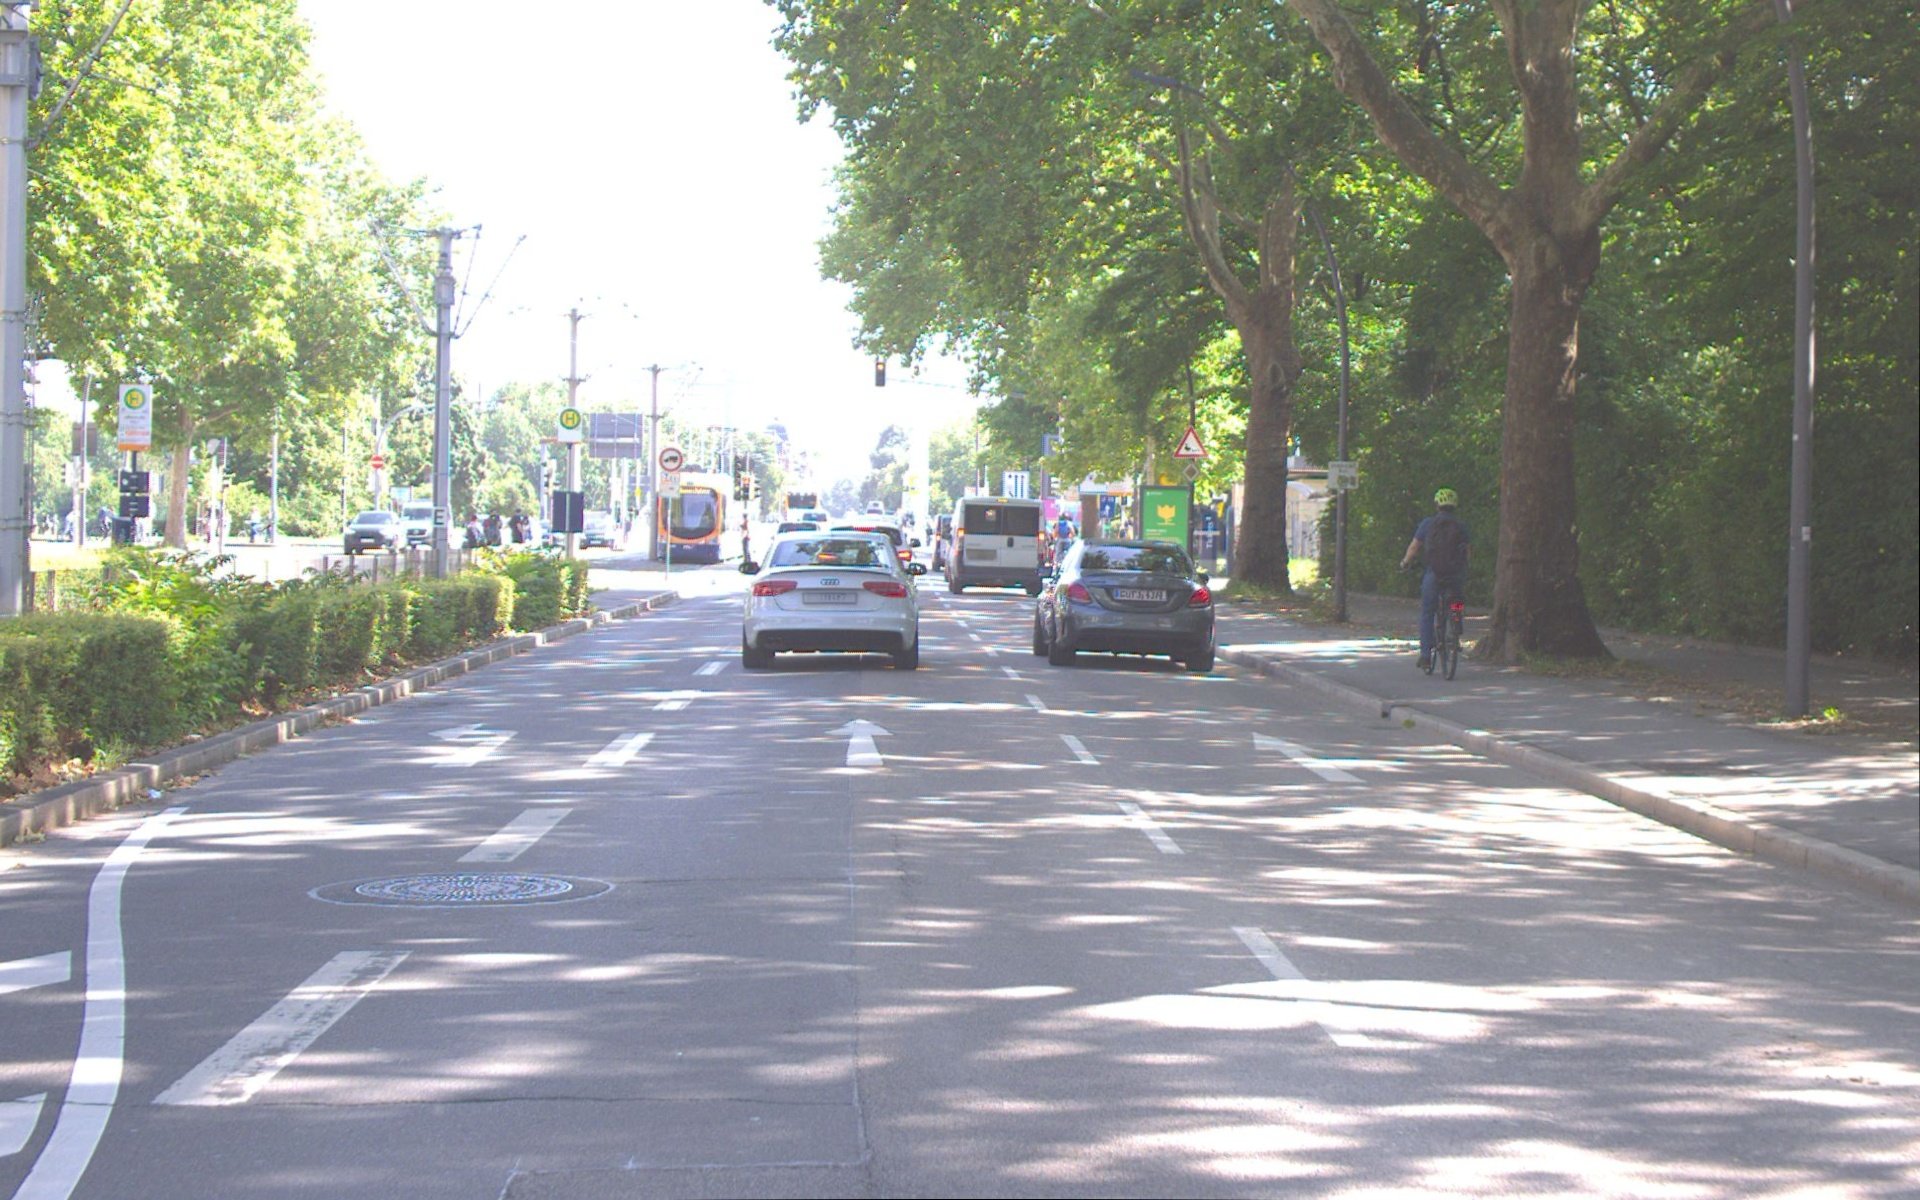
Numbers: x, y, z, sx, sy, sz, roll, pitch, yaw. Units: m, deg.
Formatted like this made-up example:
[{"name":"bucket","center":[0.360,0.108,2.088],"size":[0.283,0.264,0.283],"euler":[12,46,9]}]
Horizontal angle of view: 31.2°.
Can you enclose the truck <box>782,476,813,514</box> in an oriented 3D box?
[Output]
[{"name":"truck","center":[-12.348,-7.957,261.575],"size":[1.993,2.780,8.519],"euler":[2,1,-1]}]

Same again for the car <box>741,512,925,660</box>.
[{"name":"car","center":[-1.289,-0.185,36.034],"size":[1.784,1.416,3.885],"euler":[2,1,-1]}]

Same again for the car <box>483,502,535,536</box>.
[{"name":"car","center":[-20.498,-3.672,156.473],"size":[1.796,1.483,4.385],"euler":[2,1,-1]}]

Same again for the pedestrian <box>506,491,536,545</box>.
[{"name":"pedestrian","center":[-14.444,-2.703,113.225],"size":[0.775,1.728,0.754],"euler":[2,1,8]}]

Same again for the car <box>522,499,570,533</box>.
[{"name":"car","center":[-20.434,-4.135,169.816],"size":[1.871,1.603,4.000],"euler":[2,1,-1]}]

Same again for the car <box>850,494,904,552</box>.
[{"name":"car","center":[-2.797,-2.614,116.454],"size":[1.729,1.895,4.000],"euler":[2,1,-1]}]

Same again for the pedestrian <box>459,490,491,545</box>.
[{"name":"pedestrian","center":[-14.554,-2.480,103.137],"size":[0.757,1.617,0.595],"euler":[1,1,-26]}]

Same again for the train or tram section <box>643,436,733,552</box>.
[{"name":"train or tram section","center":[-9.810,-3.817,124.532],"size":[2.616,4.001,7.749],"euler":[2,1,-1]}]

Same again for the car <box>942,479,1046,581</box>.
[{"name":"car","center":[0.751,-1.618,78.885],"size":[2.230,2.204,4.162],"euler":[2,1,-1]}]

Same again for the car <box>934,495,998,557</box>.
[{"name":"car","center":[0.189,-2.529,117.148],"size":[2.072,1.992,4.058],"euler":[2,1,-1]}]

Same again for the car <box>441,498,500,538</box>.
[{"name":"car","center":[-19.692,-3.299,138.335],"size":[1.810,1.557,4.305],"euler":[1,1,-1]}]

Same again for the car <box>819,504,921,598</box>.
[{"name":"car","center":[-1.601,-0.902,61.940],"size":[1.729,1.599,3.885],"euler":[2,1,-1]}]

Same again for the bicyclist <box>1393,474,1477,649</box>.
[{"name":"bicyclist","center":[4.604,-0.382,33.350],"size":[0.634,1.642,0.979],"euler":[-1,3,-2]}]

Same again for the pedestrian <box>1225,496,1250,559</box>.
[{"name":"pedestrian","center":[8.312,-2.170,103.067],"size":[0.613,1.889,0.694],"euler":[1,1,-4]}]

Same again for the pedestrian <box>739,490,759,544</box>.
[{"name":"pedestrian","center":[-7.577,-2.992,123.408],"size":[0.624,1.911,0.690],"euler":[2,1,-1]}]

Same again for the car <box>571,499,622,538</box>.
[{"name":"car","center":[-17.194,-3.865,162.916],"size":[1.993,1.728,4.000],"euler":[2,1,-1]}]

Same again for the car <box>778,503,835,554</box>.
[{"name":"car","center":[-5.153,-2.420,115.735],"size":[1.729,1.625,4.000],"euler":[2,1,-1]}]

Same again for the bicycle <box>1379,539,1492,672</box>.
[{"name":"bicycle","center":[4.611,0.034,33.475],"size":[0.714,1.144,2.179],"euler":[-1,4,-2]}]

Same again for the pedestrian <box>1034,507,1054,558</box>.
[{"name":"pedestrian","center":[2.784,-2.228,113.687],"size":[0.602,1.689,0.953],"euler":[-1,1,-1]}]

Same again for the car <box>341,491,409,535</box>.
[{"name":"car","center":[-22.541,-3.340,132.562],"size":[1.830,1.618,4.897],"euler":[1,1,-1]}]

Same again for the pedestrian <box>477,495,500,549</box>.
[{"name":"pedestrian","center":[-14.589,-2.413,106.369],"size":[0.593,1.641,0.554],"euler":[2,1,-1]}]

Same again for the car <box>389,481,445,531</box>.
[{"name":"car","center":[-26.324,-4.561,166.753],"size":[2.114,2.374,4.000],"euler":[1,1,-1]}]

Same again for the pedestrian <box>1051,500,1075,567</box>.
[{"name":"pedestrian","center":[3.017,-1.963,100.763],"size":[0.635,1.939,0.719],"euler":[2,1,-1]}]

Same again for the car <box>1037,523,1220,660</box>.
[{"name":"car","center":[1.859,-0.136,38.977],"size":[1.782,1.415,4.000],"euler":[2,1,-1]}]
